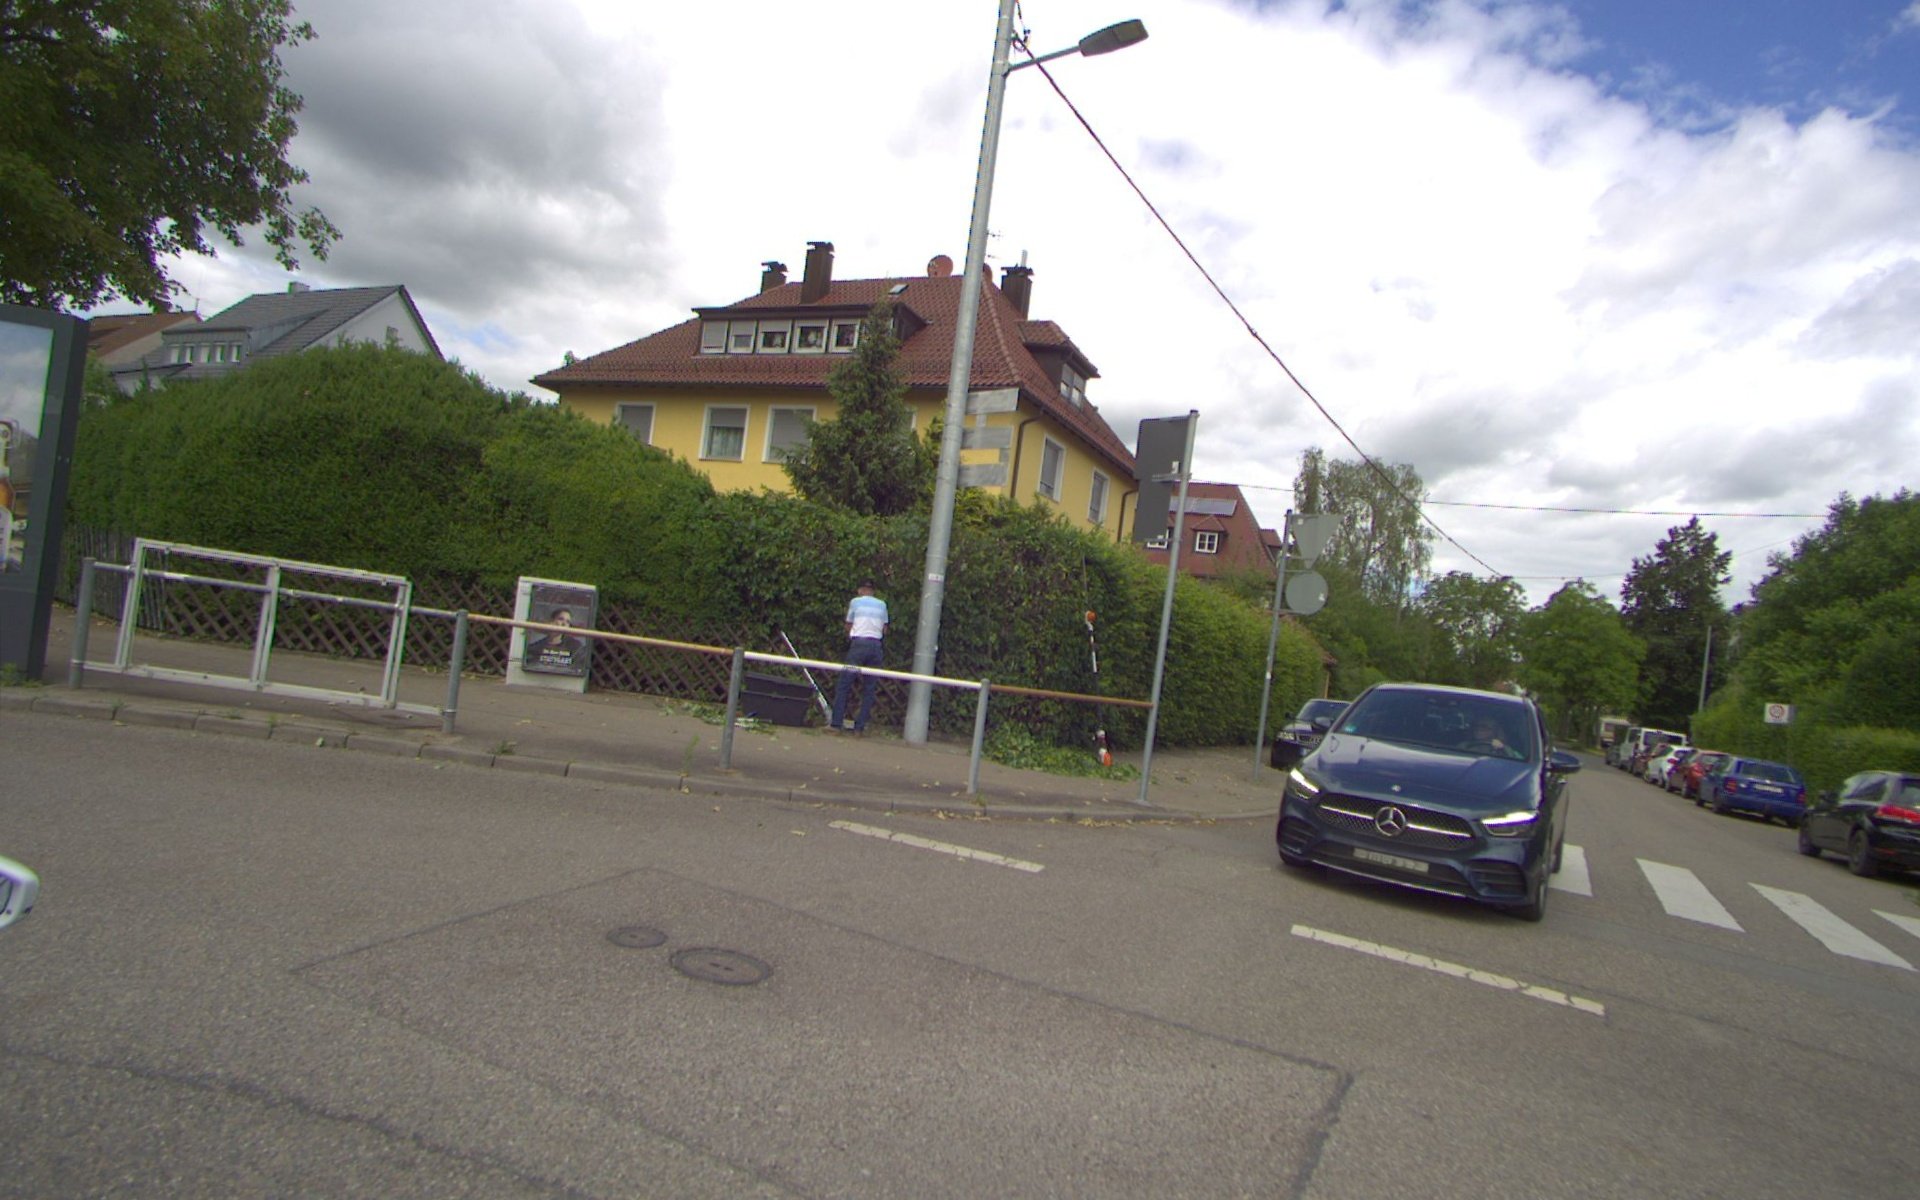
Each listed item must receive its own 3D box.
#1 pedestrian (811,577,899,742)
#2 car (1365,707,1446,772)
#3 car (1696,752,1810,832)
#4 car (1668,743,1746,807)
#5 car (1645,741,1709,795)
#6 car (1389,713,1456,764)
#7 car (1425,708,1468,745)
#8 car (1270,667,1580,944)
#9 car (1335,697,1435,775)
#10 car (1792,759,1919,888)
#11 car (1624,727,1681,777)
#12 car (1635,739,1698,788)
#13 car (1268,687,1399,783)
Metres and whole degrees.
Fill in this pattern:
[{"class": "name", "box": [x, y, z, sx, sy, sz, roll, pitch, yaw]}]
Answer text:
[{"class": "pedestrian", "box": [-1.148, 0.629, 10.902, 0.644, 1.676, 0.592, 8, 0, -17]}, {"class": "car", "box": [12.534, 3.842, 28.201, 1.525, 1.420, 3.850, 8, -1, 30]}, {"class": "car", "box": [19.142, 4.579, 24.421, 1.543, 1.383, 3.435, 8, -1, 30]}, {"class": "car", "box": [21.857, 5.090, 29.521, 1.311, 1.436, 3.208, 8, -1, 30]}, {"class": "car", "box": [24.208, 5.634, 34.039, 1.311, 1.436, 3.332, 8, -1, 30]}, {"class": "car", "box": [15.153, 4.463, 32.861, 1.574, 1.354, 3.909, 4, -3, 30]}, {"class": "car", "box": [23.342, 6.036, 48.240, 1.525, 1.501, 3.561, 4, -3, 30]}, {"class": "car", "box": [4.052, 1.499, 8.313, 1.558, 1.465, 4.313, 7, -2, 34]}, {"class": "car", "box": [9.918, 3.089, 23.333, 1.525, 1.420, 3.850, 8, -1, 30]}, {"class": "car", "box": [13.411, 3.182, 14.259, 1.679, 1.470, 3.616, 8, -3, 29]}, {"class": "car", "box": [29.240, 6.367, 42.531, 1.517, 1.706, 3.425, 8, -1, 30]}, {"class": "car", "box": [26.811, 6.179, 38.264, 1.517, 1.405, 3.425, 8, -1, 30]}, {"class": "car", "box": [7.014, 2.503, 18.670, 1.525, 1.362, 3.784, 8, -3, 30]}]
